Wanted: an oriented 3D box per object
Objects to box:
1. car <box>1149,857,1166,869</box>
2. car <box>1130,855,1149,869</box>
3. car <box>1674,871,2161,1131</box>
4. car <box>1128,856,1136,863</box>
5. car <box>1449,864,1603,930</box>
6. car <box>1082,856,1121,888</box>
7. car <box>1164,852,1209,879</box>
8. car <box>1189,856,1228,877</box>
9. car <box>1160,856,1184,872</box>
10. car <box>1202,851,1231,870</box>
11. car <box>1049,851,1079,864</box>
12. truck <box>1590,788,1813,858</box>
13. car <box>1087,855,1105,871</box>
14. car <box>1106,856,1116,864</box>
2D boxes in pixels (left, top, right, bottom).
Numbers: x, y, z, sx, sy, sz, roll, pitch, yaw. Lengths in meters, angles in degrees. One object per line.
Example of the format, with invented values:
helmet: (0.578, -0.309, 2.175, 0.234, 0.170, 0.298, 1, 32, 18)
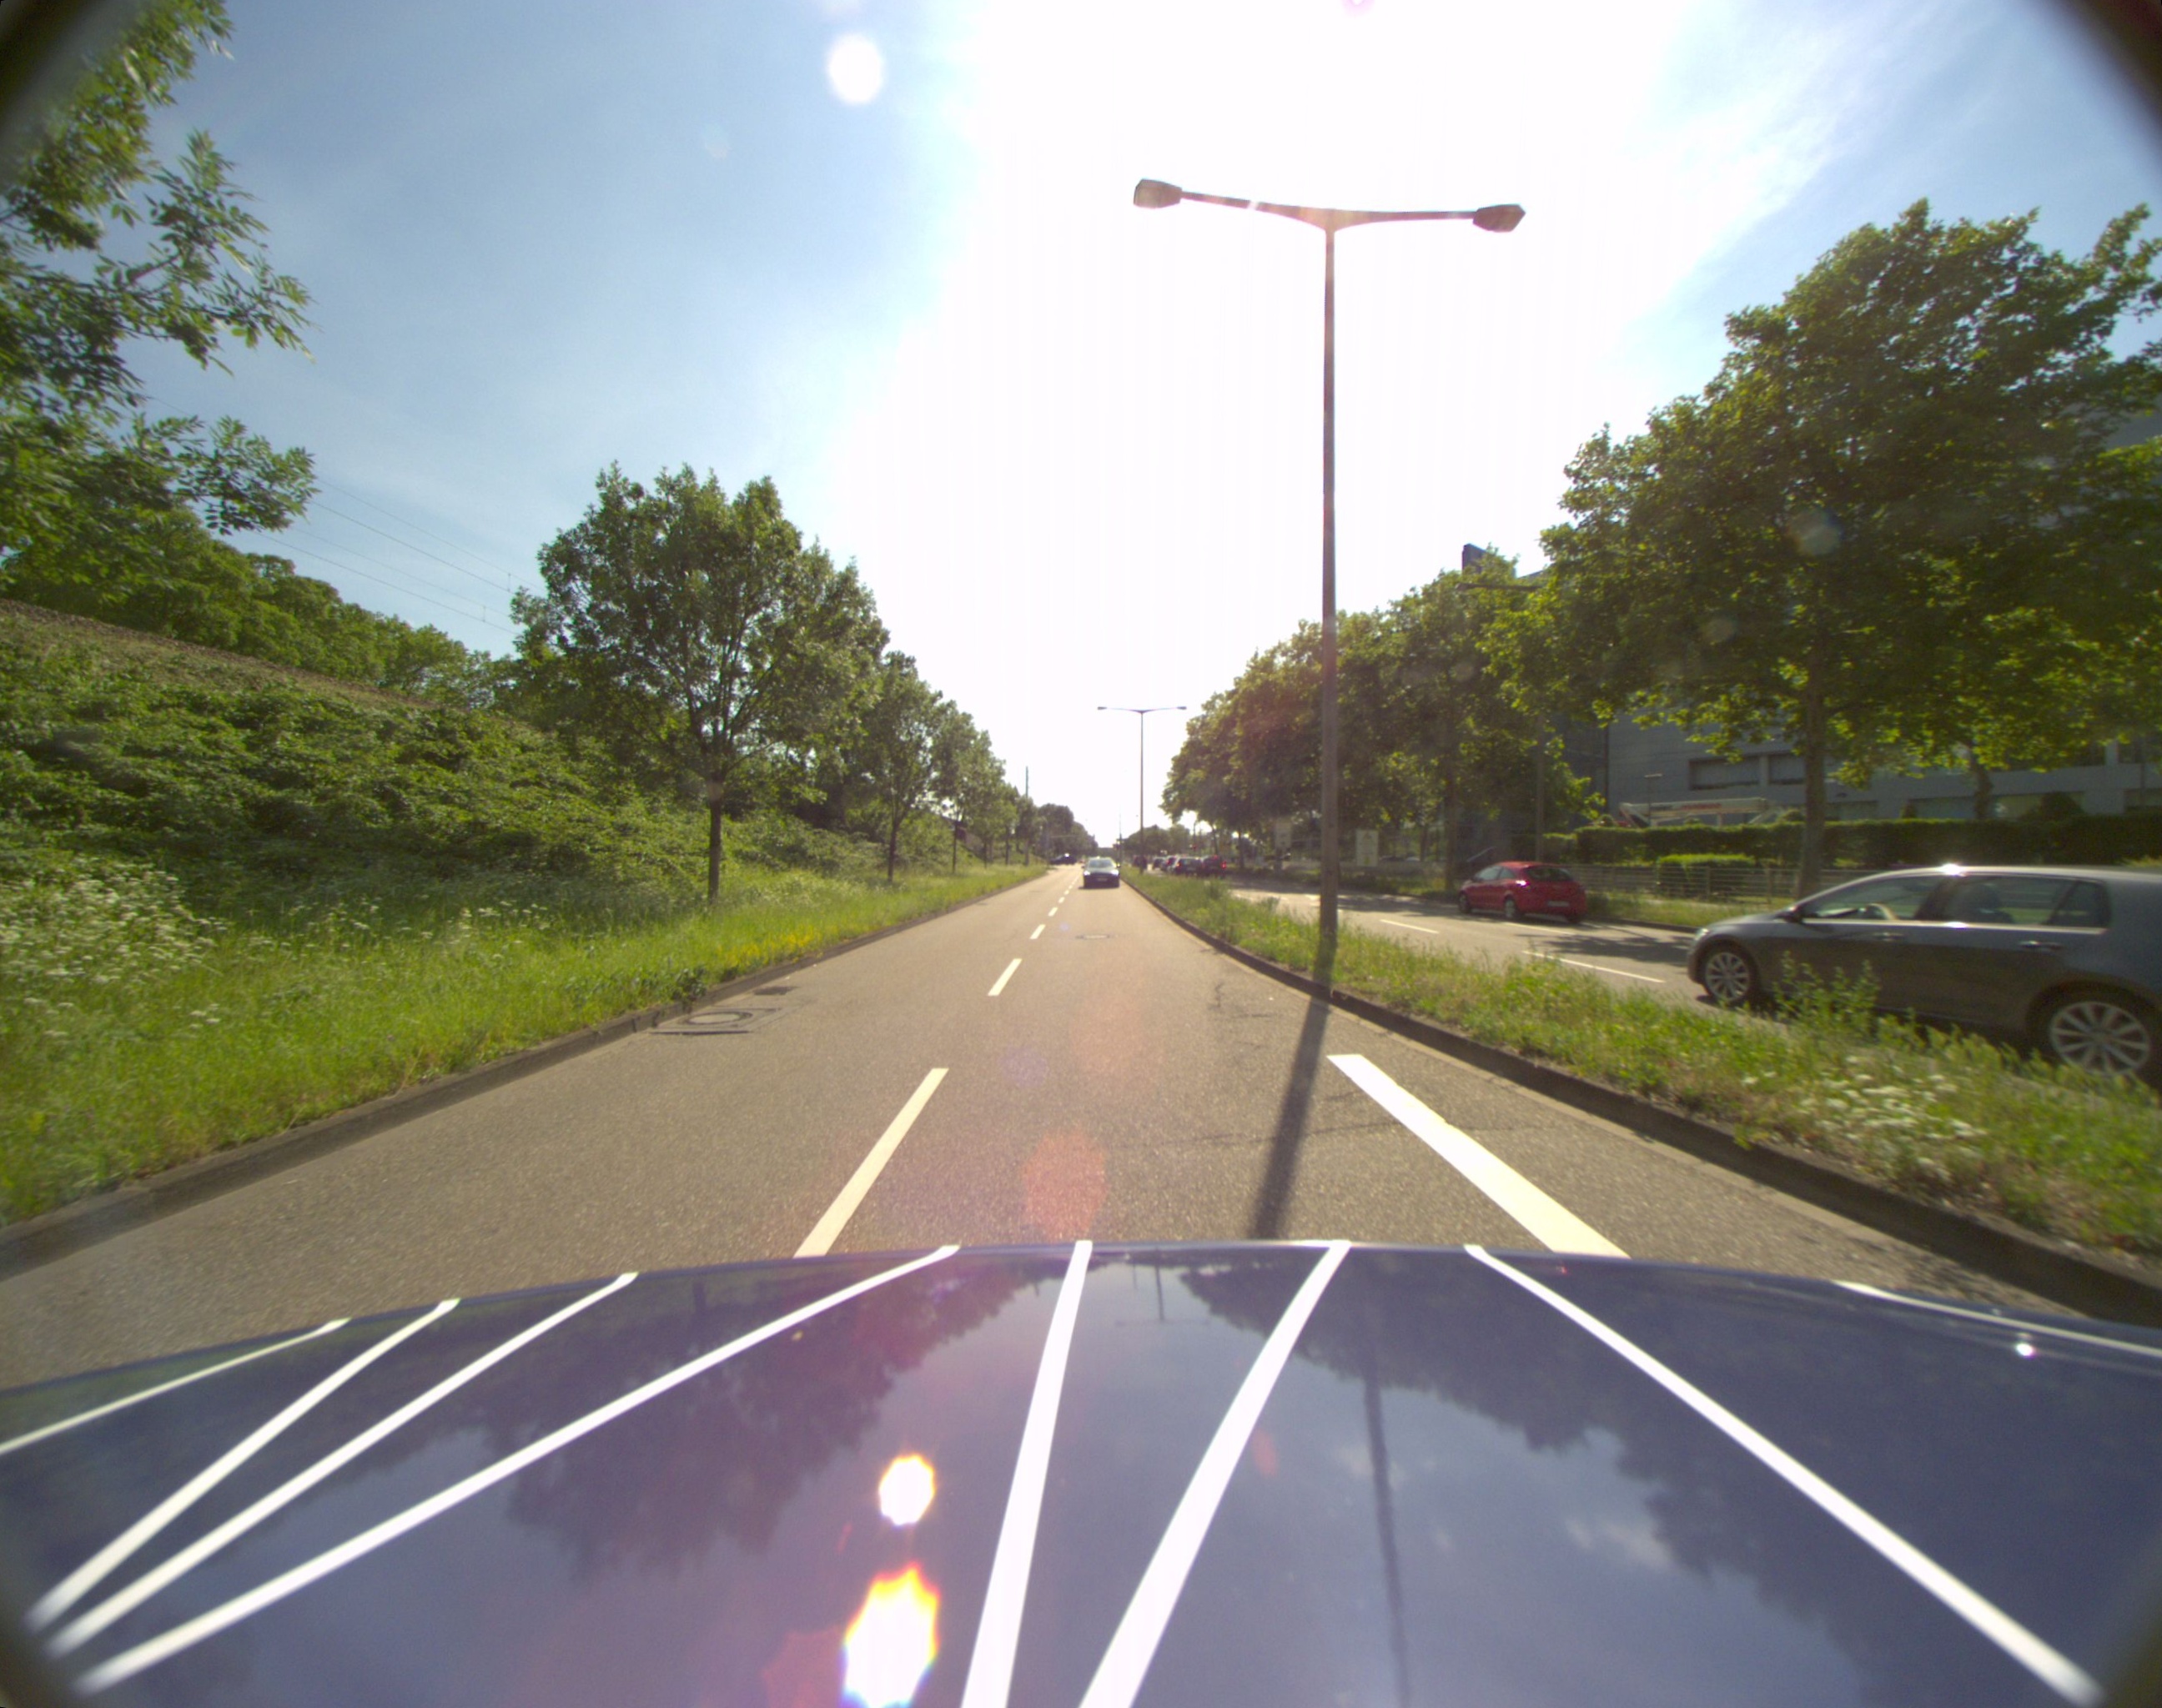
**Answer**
car: (9.566, 1.164, 95.352, 1.766, 1.466, 3.958, 0, -1, 0)
car: (6.937, 0.989, 90.117, 1.812, 1.605, 4.491, 0, -1, -1)
car: (7.327, 0.925, 6.060, 1.844, 1.470, 4.165, 0, 0, -2)
car: (14.736, 1.600, 218.467, 1.998, 1.713, 5.169, -1, -2, 5)
car: (11.413, 1.031, 19.837, 1.767, 1.454, 4.001, 1, 0, 3)
car: (0.941, 0.855, 37.148, 1.827, 1.497, 4.216, 0, 0, 0)
car: (5.910, 0.613, 43.077, 1.777, 1.459, 4.670, 1, 0, -1)
car: (9.031, 0.847, 54.112, 1.832, 1.459, 4.987, 0, 0, -1)
car: (9.291, 1.042, 77.908, 1.998, 1.601, 4.496, 1, -1, 0)
car: (13.044, 0.637, 73.235, 1.998, 1.824, 4.652, 1, -1, 0)
car: (-2.826, 0.612, 127.378, 4.728, 2.001, 1.996, 1, -3, -28)
truck: (33.261, -1.504, 41.240, 2.678, 3.376, 8.965, 0, 0, -36)
car: (1.634, 1.006, 84.035, 1.998, 1.699, 4.431, 0, 0, 0)
car: (6.310, 1.302, 159.849, 1.714, 1.498, 4.004, -1, -2, 6)
